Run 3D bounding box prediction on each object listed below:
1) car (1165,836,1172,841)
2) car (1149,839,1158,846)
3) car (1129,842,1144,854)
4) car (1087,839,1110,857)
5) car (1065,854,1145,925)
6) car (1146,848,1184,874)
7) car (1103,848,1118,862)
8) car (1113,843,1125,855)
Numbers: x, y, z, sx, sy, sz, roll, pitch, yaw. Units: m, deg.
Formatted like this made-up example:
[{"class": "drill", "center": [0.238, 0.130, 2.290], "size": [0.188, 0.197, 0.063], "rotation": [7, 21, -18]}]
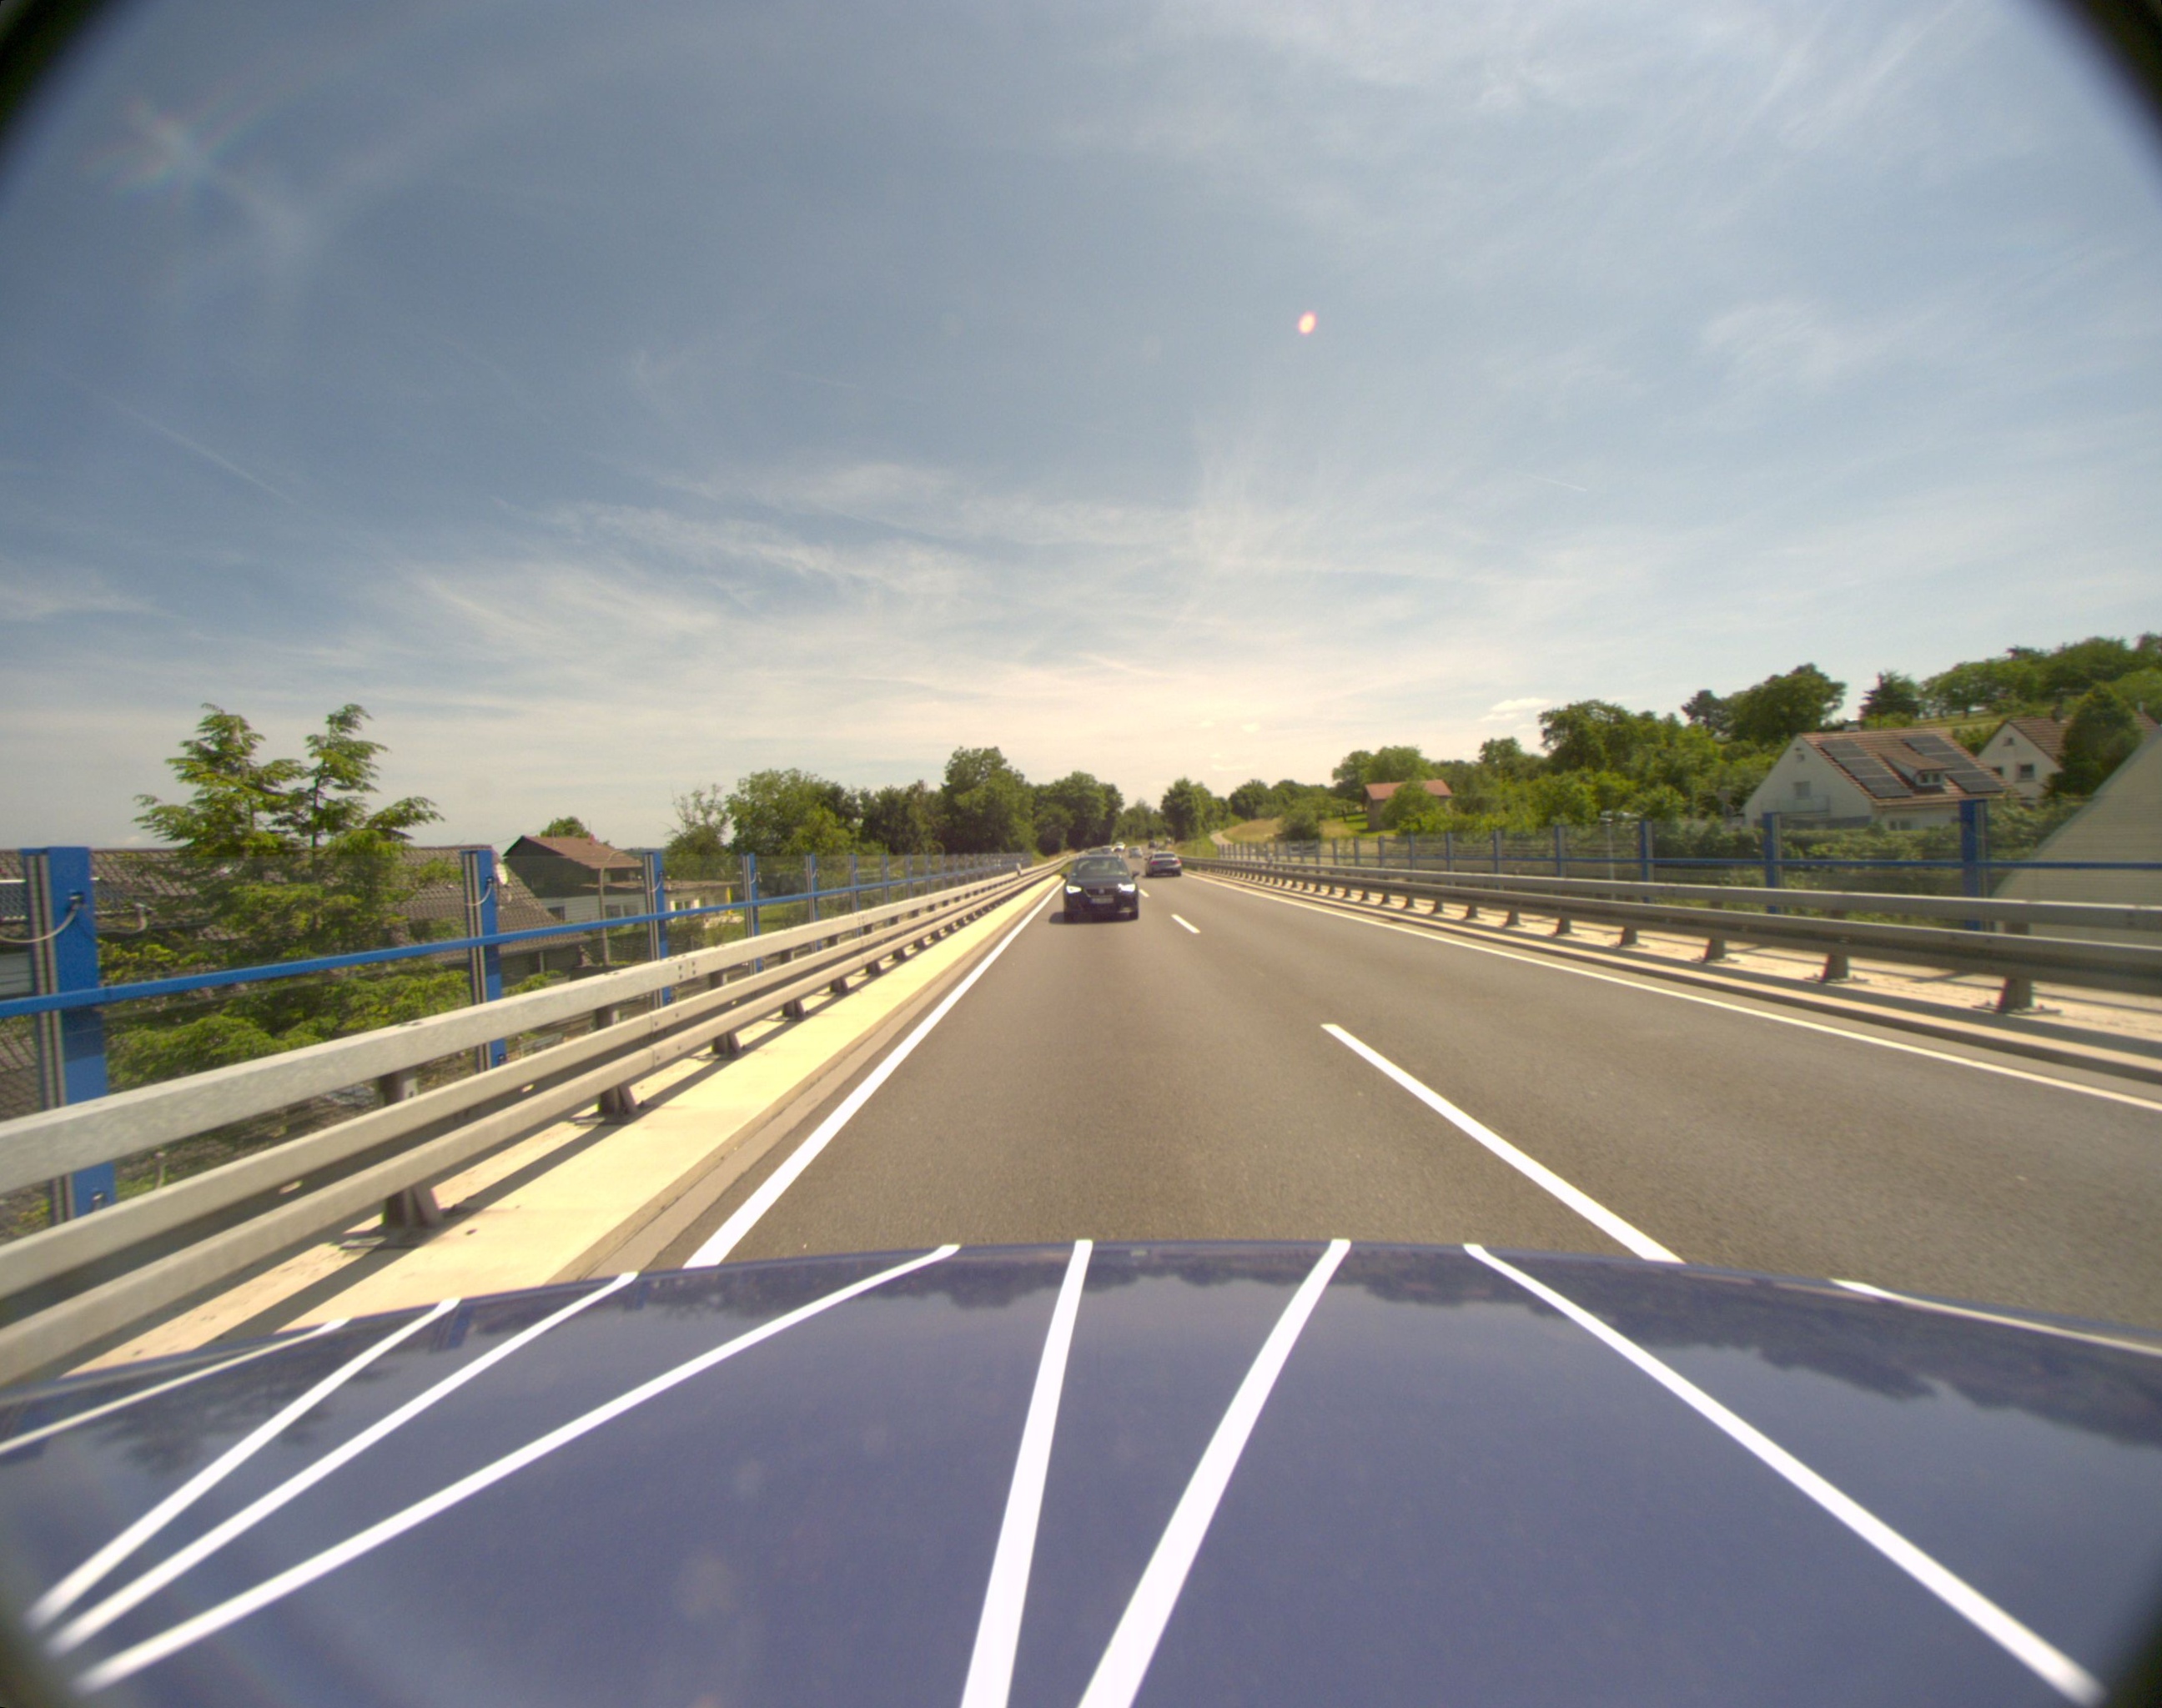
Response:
[{"class": "car", "center": [23.366, -4.177, 202.228], "size": [1.649, 1.432, 4.161], "rotation": [-1, 1, 10]}, {"class": "car", "center": [15.432, -2.460, 162.008], "size": [1.810, 1.580, 4.380], "rotation": [-1, 1, 6]}, {"class": "car", "center": [7.439, -0.799, 102.026], "size": [1.711, 1.496, 4.118], "rotation": [-1, 1, 1]}, {"class": "car", "center": [1.765, -0.573, 74.204], "size": [1.883, 1.698, 4.001], "rotation": [-1, 1, 6]}, {"class": "car", "center": [0.559, 0.774, 18.730], "size": [1.737, 1.467, 3.999], "rotation": [-1, 1, 1]}, {"class": "car", "center": [4.861, 0.374, 44.464], "size": [1.785, 1.427, 4.834], "rotation": [-1, 1, 2]}, {"class": "car", "center": [3.839, 0.116, 98.236], "size": [1.883, 1.698, 4.000], "rotation": [-1, 1, 4]}, {"class": "car", "center": [6.984, -0.874, 139.327], "size": [1.998, 2.002, 4.000], "rotation": [-2, 2, 4]}]
